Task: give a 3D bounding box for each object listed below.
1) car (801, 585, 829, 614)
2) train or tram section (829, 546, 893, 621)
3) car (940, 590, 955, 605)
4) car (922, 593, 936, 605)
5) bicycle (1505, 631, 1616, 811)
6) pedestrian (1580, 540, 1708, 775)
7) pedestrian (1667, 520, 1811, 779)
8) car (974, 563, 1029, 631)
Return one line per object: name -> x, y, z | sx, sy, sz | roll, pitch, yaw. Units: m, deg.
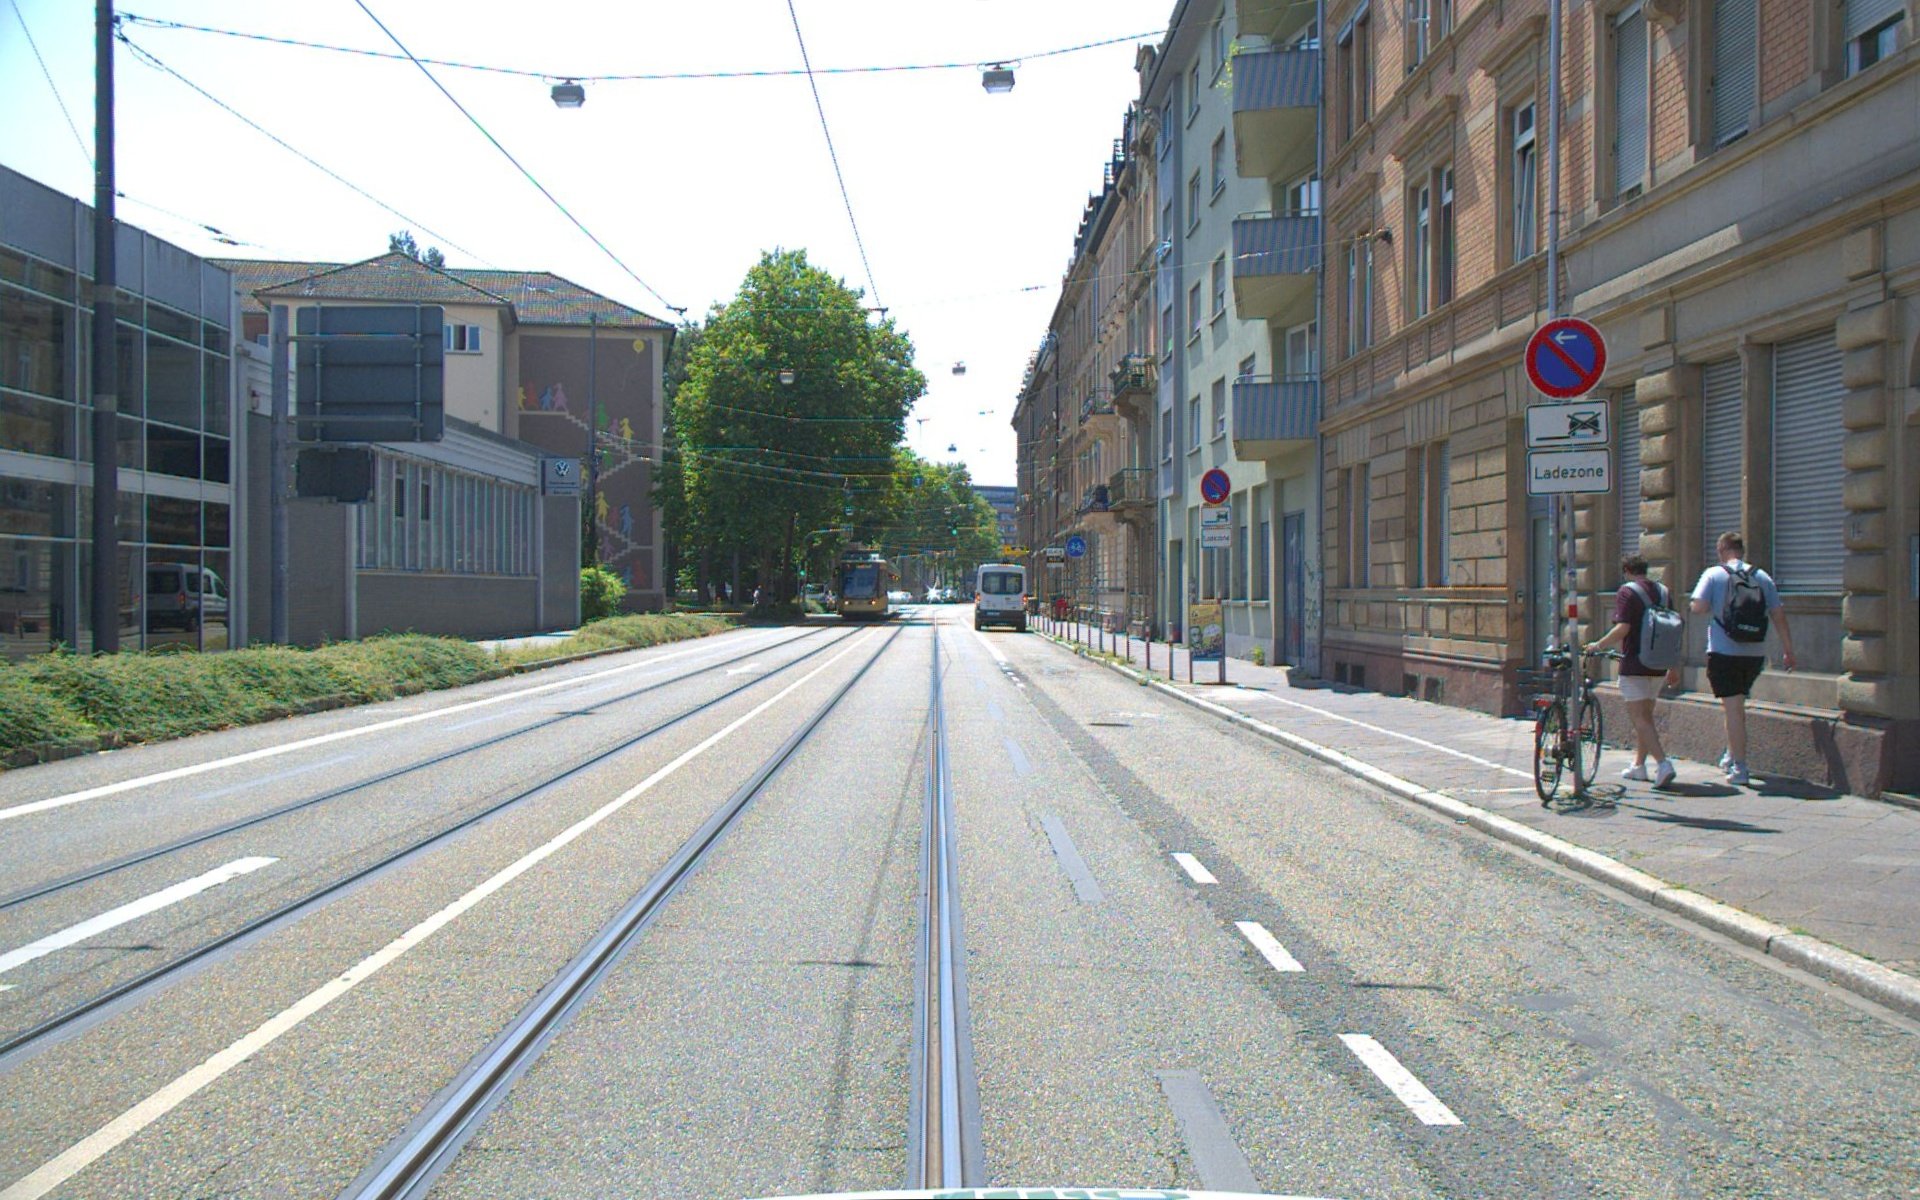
car -> -10.127, -0.012, 115.599 | 1.764, 1.956, 3.998 | 1, 0, -3
train or tram section -> -5.127, -0.844, 88.013 | 2.900, 3.643, 13.420 | 0, 0, -1
car -> -1.609, -0.336, 205.121 | 1.641, 1.892, 3.997 | 1, 0, -4
car -> -3.742, -0.137, 197.900 | 1.498, 1.433, 3.487 | 1, 0, -3
bicycle -> 4.473, 0.837, 12.243 | 0.489, 1.150, 2.240 | 0, 0, 27
pedestrian -> 5.206, 0.426, 12.625 | 0.705, 1.750, 0.643 | 0, 0, 0
pedestrian -> 5.920, 0.364, 12.601 | 0.688, 1.881, 0.643 | -3, 0, 0
car -> 1.598, -0.114, 65.749 | 2.025, 2.544, 5.454 | 1, 0, 0
